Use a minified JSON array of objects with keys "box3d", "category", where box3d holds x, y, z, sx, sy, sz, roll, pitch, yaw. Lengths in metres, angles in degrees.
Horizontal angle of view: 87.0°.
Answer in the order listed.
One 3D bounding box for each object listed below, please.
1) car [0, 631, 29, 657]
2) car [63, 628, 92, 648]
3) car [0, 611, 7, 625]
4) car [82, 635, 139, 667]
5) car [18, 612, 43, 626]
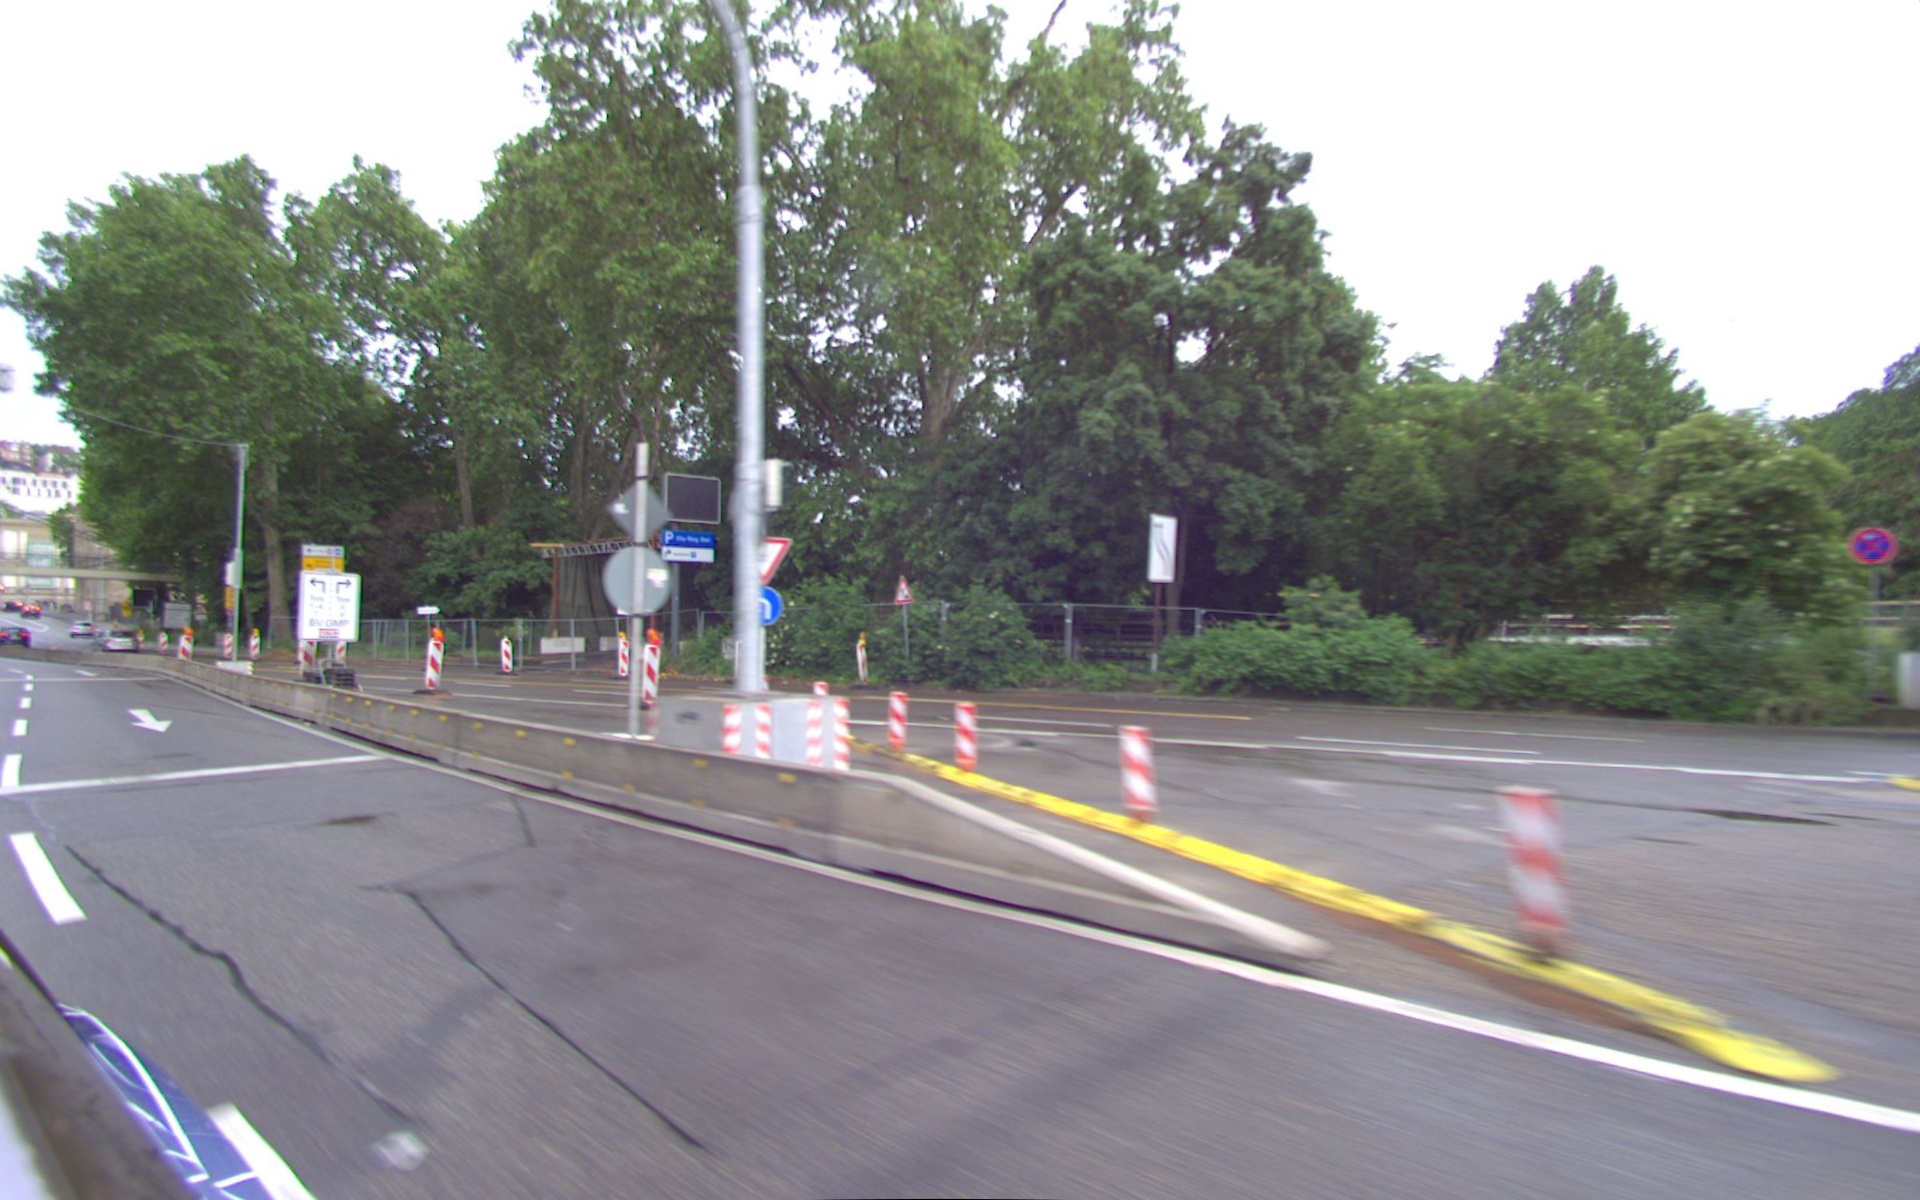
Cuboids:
[{"box3d":[-65.501,3.000,69.332,4.579,1.552,1.972,1,-3,42],"category":"car"},{"box3d":[-81.105,3.486,93.033,1.845,1.552,4.097,4,-2,-40],"category":"car"},{"box3d":[-144.537,2.590,151.348,3.988,2.029,1.978,2,-2,33],"category":"car"},{"box3d":[-48.279,2.874,57.499,4.447,1.552,1.971,1,-3,44],"category":"car"},{"box3d":[-125.726,2.581,136.917,4.317,1.666,2.009,-2,-4,41],"category":"car"}]
